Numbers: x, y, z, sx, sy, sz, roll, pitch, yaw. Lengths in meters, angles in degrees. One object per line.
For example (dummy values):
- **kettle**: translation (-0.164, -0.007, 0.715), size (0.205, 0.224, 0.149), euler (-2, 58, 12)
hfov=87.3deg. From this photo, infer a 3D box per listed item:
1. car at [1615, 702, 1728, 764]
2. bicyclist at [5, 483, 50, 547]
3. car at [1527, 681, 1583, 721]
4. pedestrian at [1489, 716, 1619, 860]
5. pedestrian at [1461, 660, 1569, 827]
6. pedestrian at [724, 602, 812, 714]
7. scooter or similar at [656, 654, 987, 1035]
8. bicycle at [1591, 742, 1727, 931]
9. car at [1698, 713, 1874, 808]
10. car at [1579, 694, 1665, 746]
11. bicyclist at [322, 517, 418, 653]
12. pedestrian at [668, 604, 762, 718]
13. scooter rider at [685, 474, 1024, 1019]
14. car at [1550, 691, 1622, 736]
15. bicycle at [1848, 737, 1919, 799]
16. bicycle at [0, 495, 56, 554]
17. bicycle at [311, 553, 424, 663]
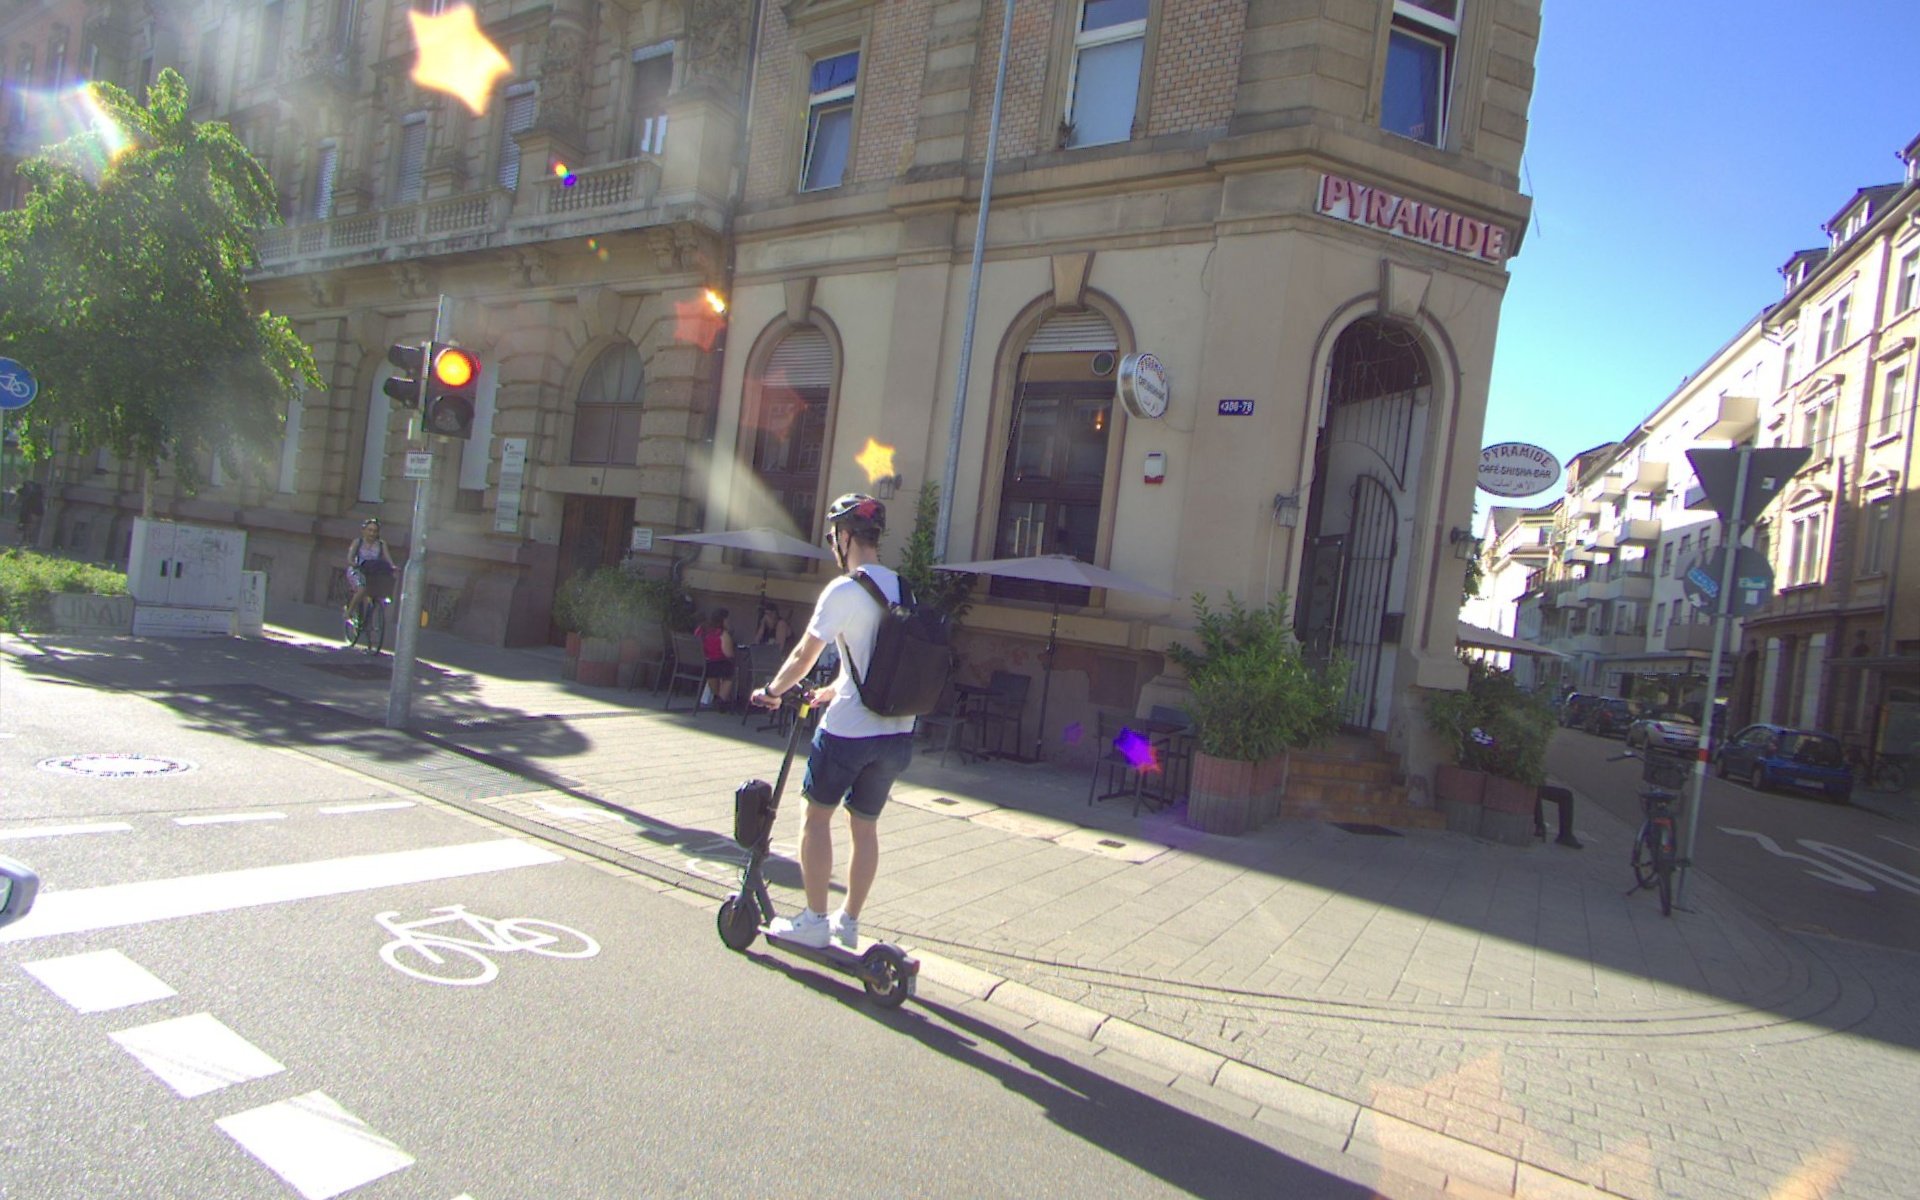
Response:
- **car**: translation (21.803, 4.029, 30.985), size (1.769, 1.350, 4.000), euler (9, 0, 22)
- **bicyclist**: translation (-23.924, -2.180, 25.815), size (0.788, 1.552, 0.660), euler (7, 5, 33)
- **car**: translation (30.115, 5.067, 51.013), size (1.769, 1.685, 3.772), euler (7, -1, 23)
- **pedestrian**: translation (6.015, 1.875, 10.247), size (0.917, 1.228, 0.852), euler (7, -1, 25)
- **pedestrian**: translation (6.558, 1.670, 11.943), size (0.852, 1.781, 0.909), euler (7, -1, 25)
- **pedestrian**: translation (-2.330, 0.695, 12.235), size (0.624, 1.252, 0.706), euler (7, 2, 31)
- **scooter or similar**: translation (-0.585, 0.931, 4.167), size (1.151, 1.240, 0.492), euler (7, -2, 31)
- **bicycle**: translation (5.690, 1.841, 8.205), size (0.643, 1.186, 1.818), euler (11, 2, 35)
- **car**: translation (18.501, 3.532, 22.774), size (1.769, 1.437, 4.000), euler (9, 0, 22)
- **car**: translation (24.065, 4.310, 36.709), size (1.769, 1.449, 3.773), euler (7, -1, 22)
- **bicyclist**: translation (-7.807, -0.199, 13.313), size (0.946, 1.659, 0.666), euler (7, 1, 39)
- **pedestrian**: translation (-2.788, 0.689, 11.475), size (0.624, 1.193, 0.706), euler (7, 2, 31)
- **scooter rider**: translation (-0.411, 0.515, 4.032), size (0.886, 1.882, 0.668), euler (7, -1, 31)
- **car**: translation (25.846, 4.649, 41.654), size (1.769, 1.449, 3.773), euler (7, -1, 22)
- **bicycle**: translation (22.140, 3.971, 23.654), size (0.621, 1.192, 2.014), euler (7, 0, 1)
- **bicycle**: translation (-23.988, -1.956, 25.876), size (1.869, 1.349, 0.615), euler (7, 4, 33)
- **bicycle**: translation (-7.906, 0.091, 13.386), size (1.872, 1.238, 0.583), euler (7, 0, 39)
